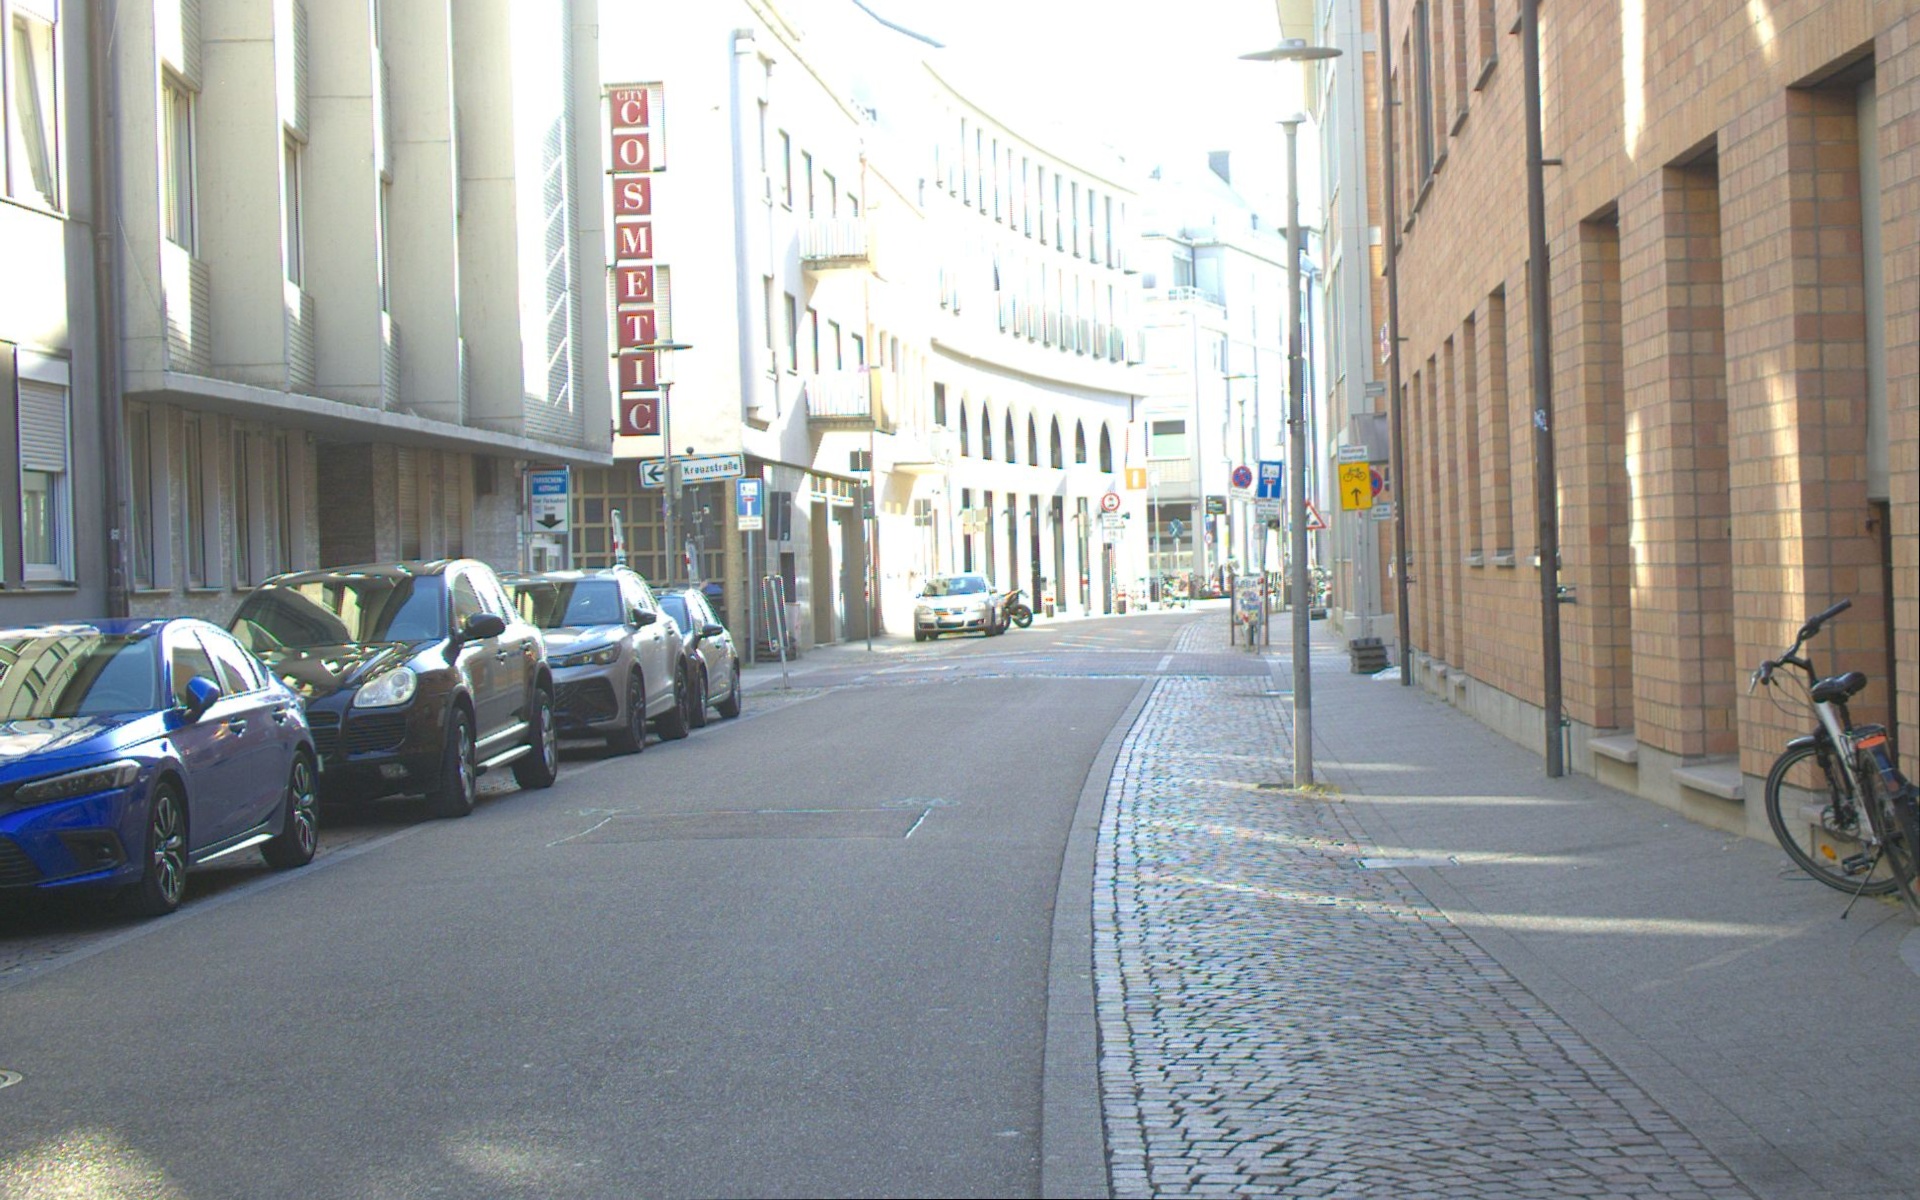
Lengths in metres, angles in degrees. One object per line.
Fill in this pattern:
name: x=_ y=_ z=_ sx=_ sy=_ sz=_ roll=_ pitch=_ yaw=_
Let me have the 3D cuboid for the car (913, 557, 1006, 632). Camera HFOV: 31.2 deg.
car: x=0.016 y=-0.137 z=76.352 sx=1.737 sy=1.600 sz=3.532 roll=-1 pitch=1 yaw=5

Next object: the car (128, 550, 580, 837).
car: x=-3.967 y=0.540 z=23.311 sx=1.890 sy=1.670 sz=4.553 roll=-2 pitch=1 yaw=4

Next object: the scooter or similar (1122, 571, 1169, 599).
scooter or similar: x=6.385 y=-0.519 z=118.539 sx=0.526 sy=0.925 sz=2.223 roll=0 pitch=1 yaw=35

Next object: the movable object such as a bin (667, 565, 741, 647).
movable object such as a bin: x=-4.446 y=0.100 z=59.745 sx=0.931 sy=1.415 sz=0.884 roll=0 pitch=0 yaw=-42

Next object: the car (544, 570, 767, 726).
car: x=-3.203 y=0.470 z=36.892 sx=1.648 sy=1.455 sz=3.998 roll=-4 pitch=0 yaw=4

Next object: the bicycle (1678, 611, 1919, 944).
bicycle: x=3.298 y=0.630 z=13.147 sx=0.549 sy=1.099 sz=1.982 roll=-5 pitch=1 yaw=-1

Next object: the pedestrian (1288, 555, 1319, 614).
pedestrian: x=10.875 y=-0.501 z=108.733 sx=0.659 sy=1.862 sz=0.786 roll=0 pitch=0 yaw=-26

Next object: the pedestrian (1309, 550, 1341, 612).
pedestrian: x=10.981 y=-0.557 z=103.549 sx=0.659 sy=1.862 sz=0.761 roll=0 pitch=0 yaw=-26

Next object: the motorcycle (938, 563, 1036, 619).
motorcycle: x=0.692 y=-0.234 z=87.681 sx=2.391 sy=1.312 sz=0.862 roll=-3 pitch=1 yaw=5

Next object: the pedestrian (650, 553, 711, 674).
pedestrian: x=-3.791 y=0.184 z=46.636 sx=0.645 sy=1.620 sz=0.457 roll=-2 pitch=1 yaw=-37

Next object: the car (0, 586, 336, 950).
car: x=-4.567 y=0.756 z=17.287 sx=1.890 sy=1.525 sz=4.340 roll=-2 pitch=1 yaw=2

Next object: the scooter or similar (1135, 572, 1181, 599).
scooter or similar: x=7.038 y=-0.528 z=122.001 sx=0.526 sy=0.925 sz=2.223 roll=0 pitch=1 yaw=35

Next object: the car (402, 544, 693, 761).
car: x=-3.614 y=0.407 z=30.889 sx=1.890 sy=1.736 sz=4.390 roll=-2 pitch=1 yaw=2

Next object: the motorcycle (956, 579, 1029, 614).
motorcycle: x=0.792 y=-0.081 z=83.721 sx=1.692 sy=0.856 sz=0.594 roll=0 pitch=0 yaw=9
